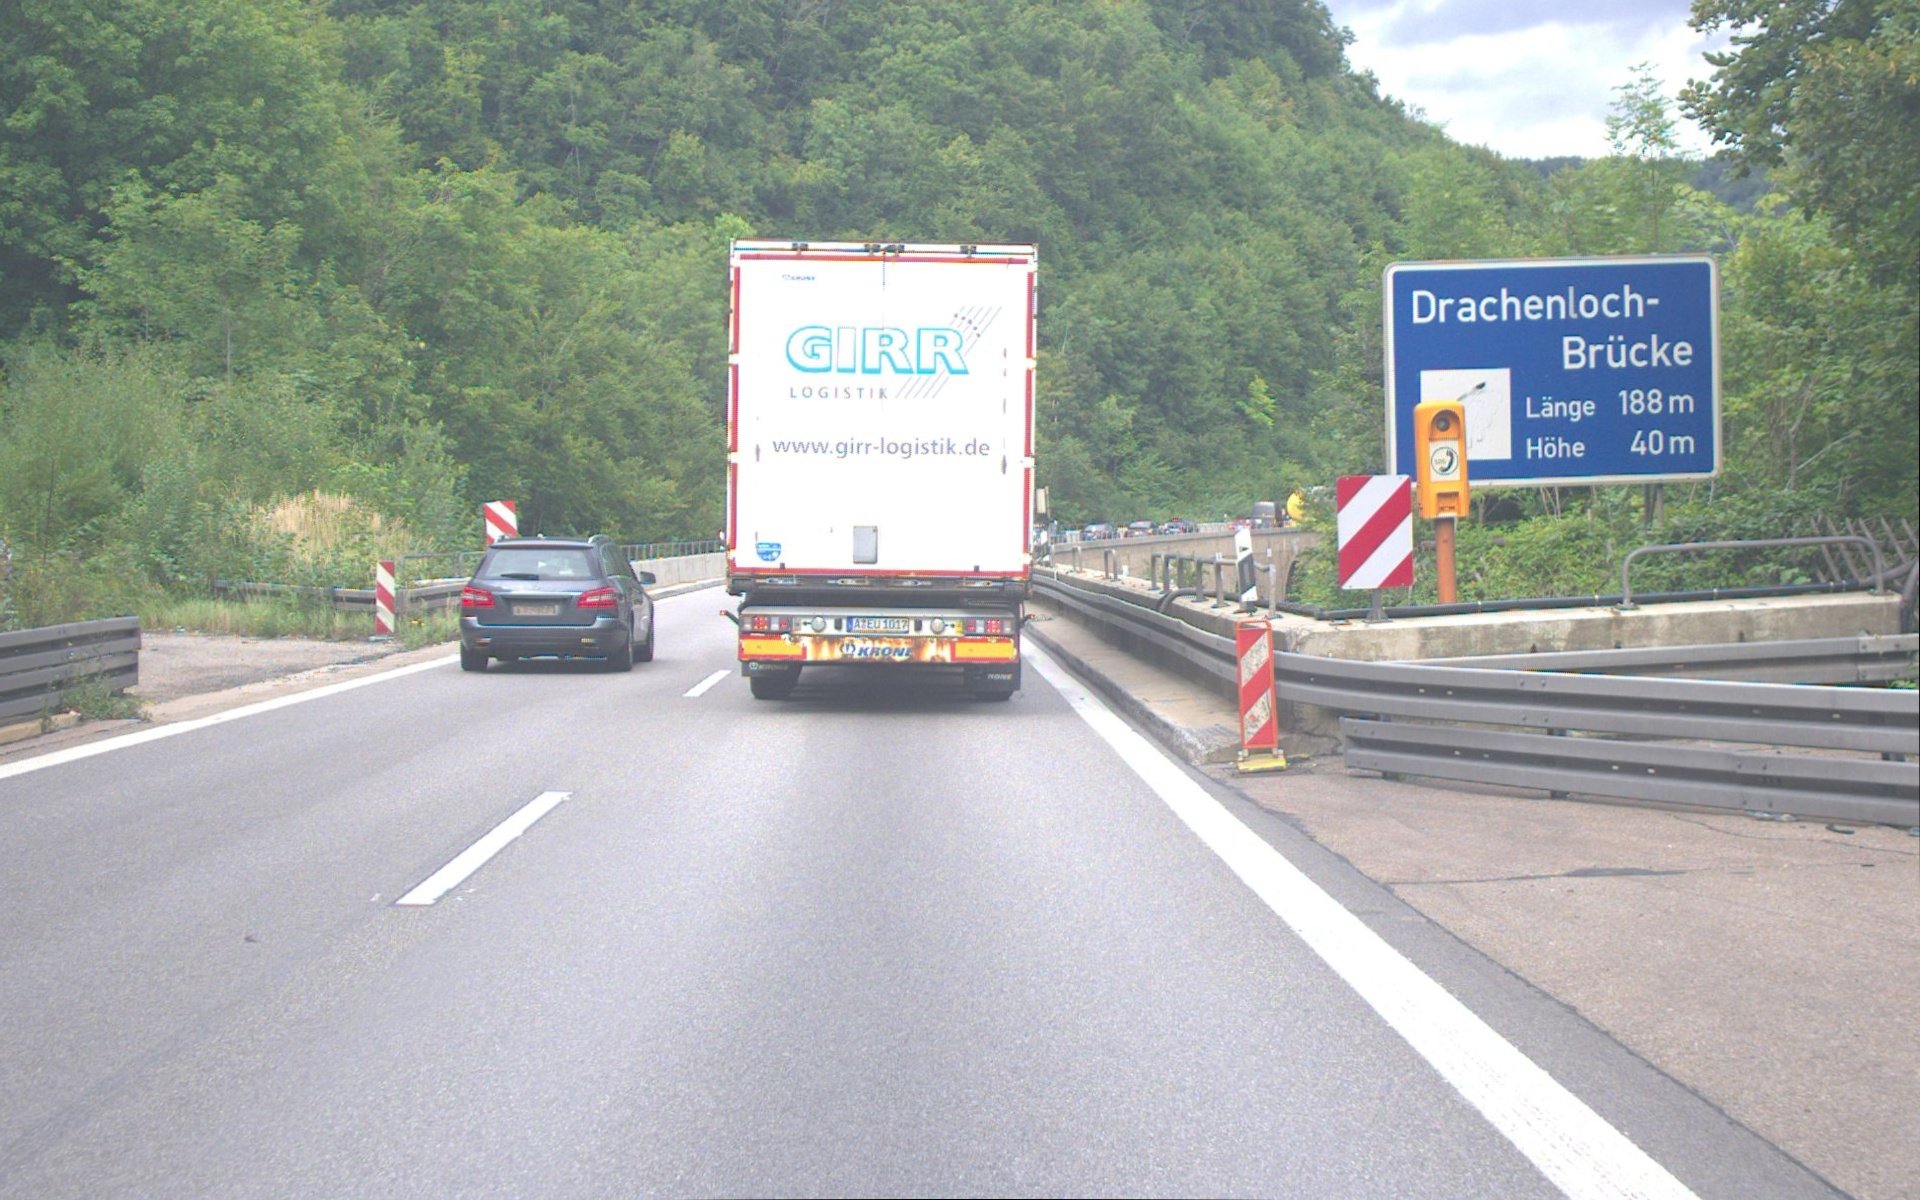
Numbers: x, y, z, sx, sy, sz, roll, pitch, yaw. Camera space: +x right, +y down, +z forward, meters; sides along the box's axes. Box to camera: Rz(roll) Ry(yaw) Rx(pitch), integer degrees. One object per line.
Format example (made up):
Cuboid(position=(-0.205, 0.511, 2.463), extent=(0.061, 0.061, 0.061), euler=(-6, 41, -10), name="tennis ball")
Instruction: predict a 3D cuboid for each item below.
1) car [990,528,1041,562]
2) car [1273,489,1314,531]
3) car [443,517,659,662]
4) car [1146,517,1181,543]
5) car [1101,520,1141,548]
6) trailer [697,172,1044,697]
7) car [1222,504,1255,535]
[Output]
Cuboid(position=(2.826, -2.779, 173.716), extent=(1.994, 1.678, 3.998), euler=(0, 0, 9), name="car")
Cuboid(position=(24.702, -6.662, 254.501), extent=(2.365, 2.956, 6.848), euler=(0, 0, 11), name="car")
Cuboid(position=(-4.504, -0.136, 38.421), extent=(1.883, 1.505, 4.419), euler=(-1, 1, 0), name="car")
Cuboid(position=(13.798, -4.732, 233.051), extent=(1.994, 1.678, 3.998), euler=(0, 0, 9), name="car")
Cuboid(position=(9.925, -4.046, 211.353), extent=(1.994, 1.678, 3.998), euler=(0, 0, 9), name="car")
Cuboid(position=(-0.806, -1.431, 34.382), extent=(2.813, 4.288, 12.245), euler=(-1, 1, -1), name="trailer")
Cuboid(position=(19.471, -5.626, 240.203), extent=(1.994, 2.072, 3.998), euler=(0, 0, 9), name="car")
